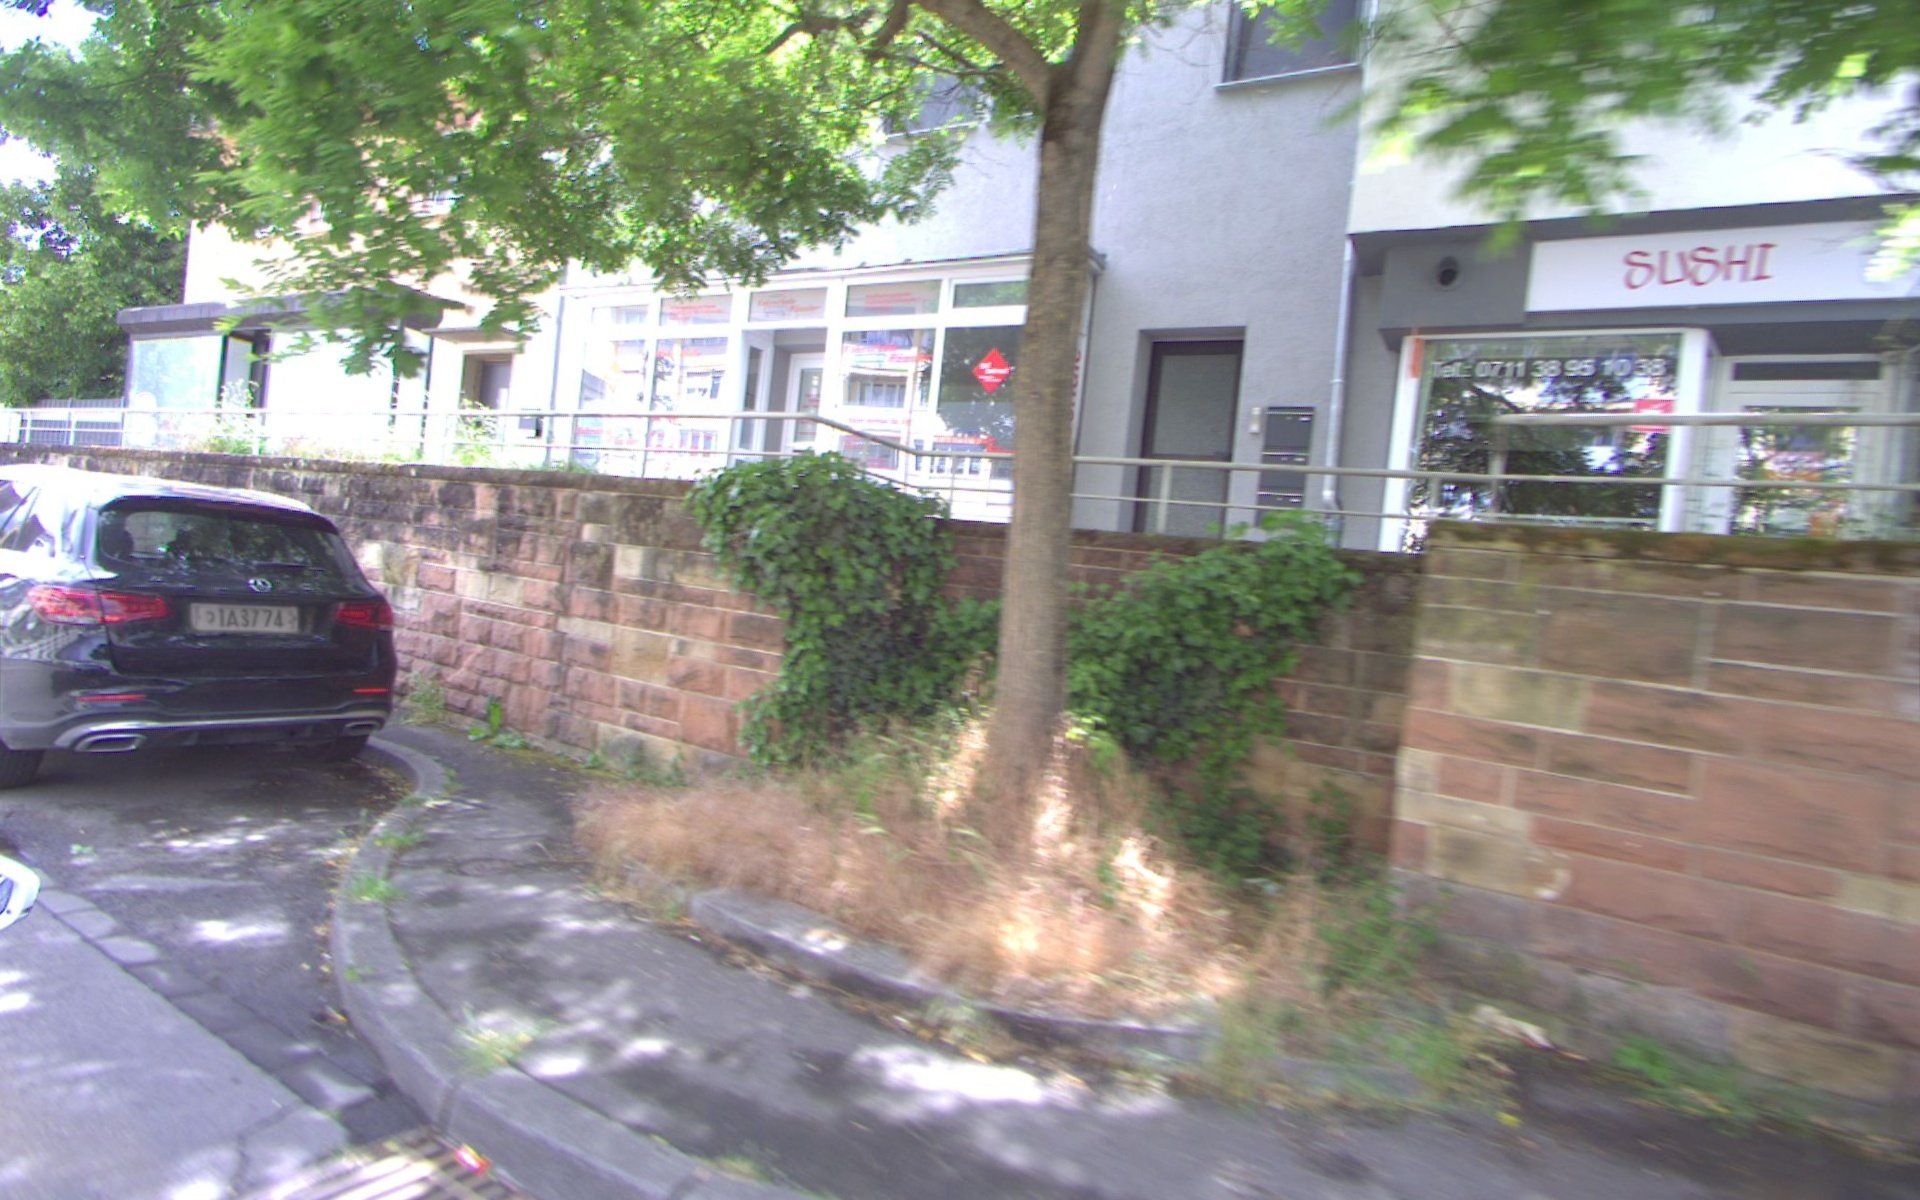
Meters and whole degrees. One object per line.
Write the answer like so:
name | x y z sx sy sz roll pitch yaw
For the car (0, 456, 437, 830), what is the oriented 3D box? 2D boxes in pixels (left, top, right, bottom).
car | -5.464 0.018 6.326 4.374 1.639 1.790 7 2 32

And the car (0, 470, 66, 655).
car | -10.569 -0.566 9.640 4.178 1.638 1.791 7 1 32
